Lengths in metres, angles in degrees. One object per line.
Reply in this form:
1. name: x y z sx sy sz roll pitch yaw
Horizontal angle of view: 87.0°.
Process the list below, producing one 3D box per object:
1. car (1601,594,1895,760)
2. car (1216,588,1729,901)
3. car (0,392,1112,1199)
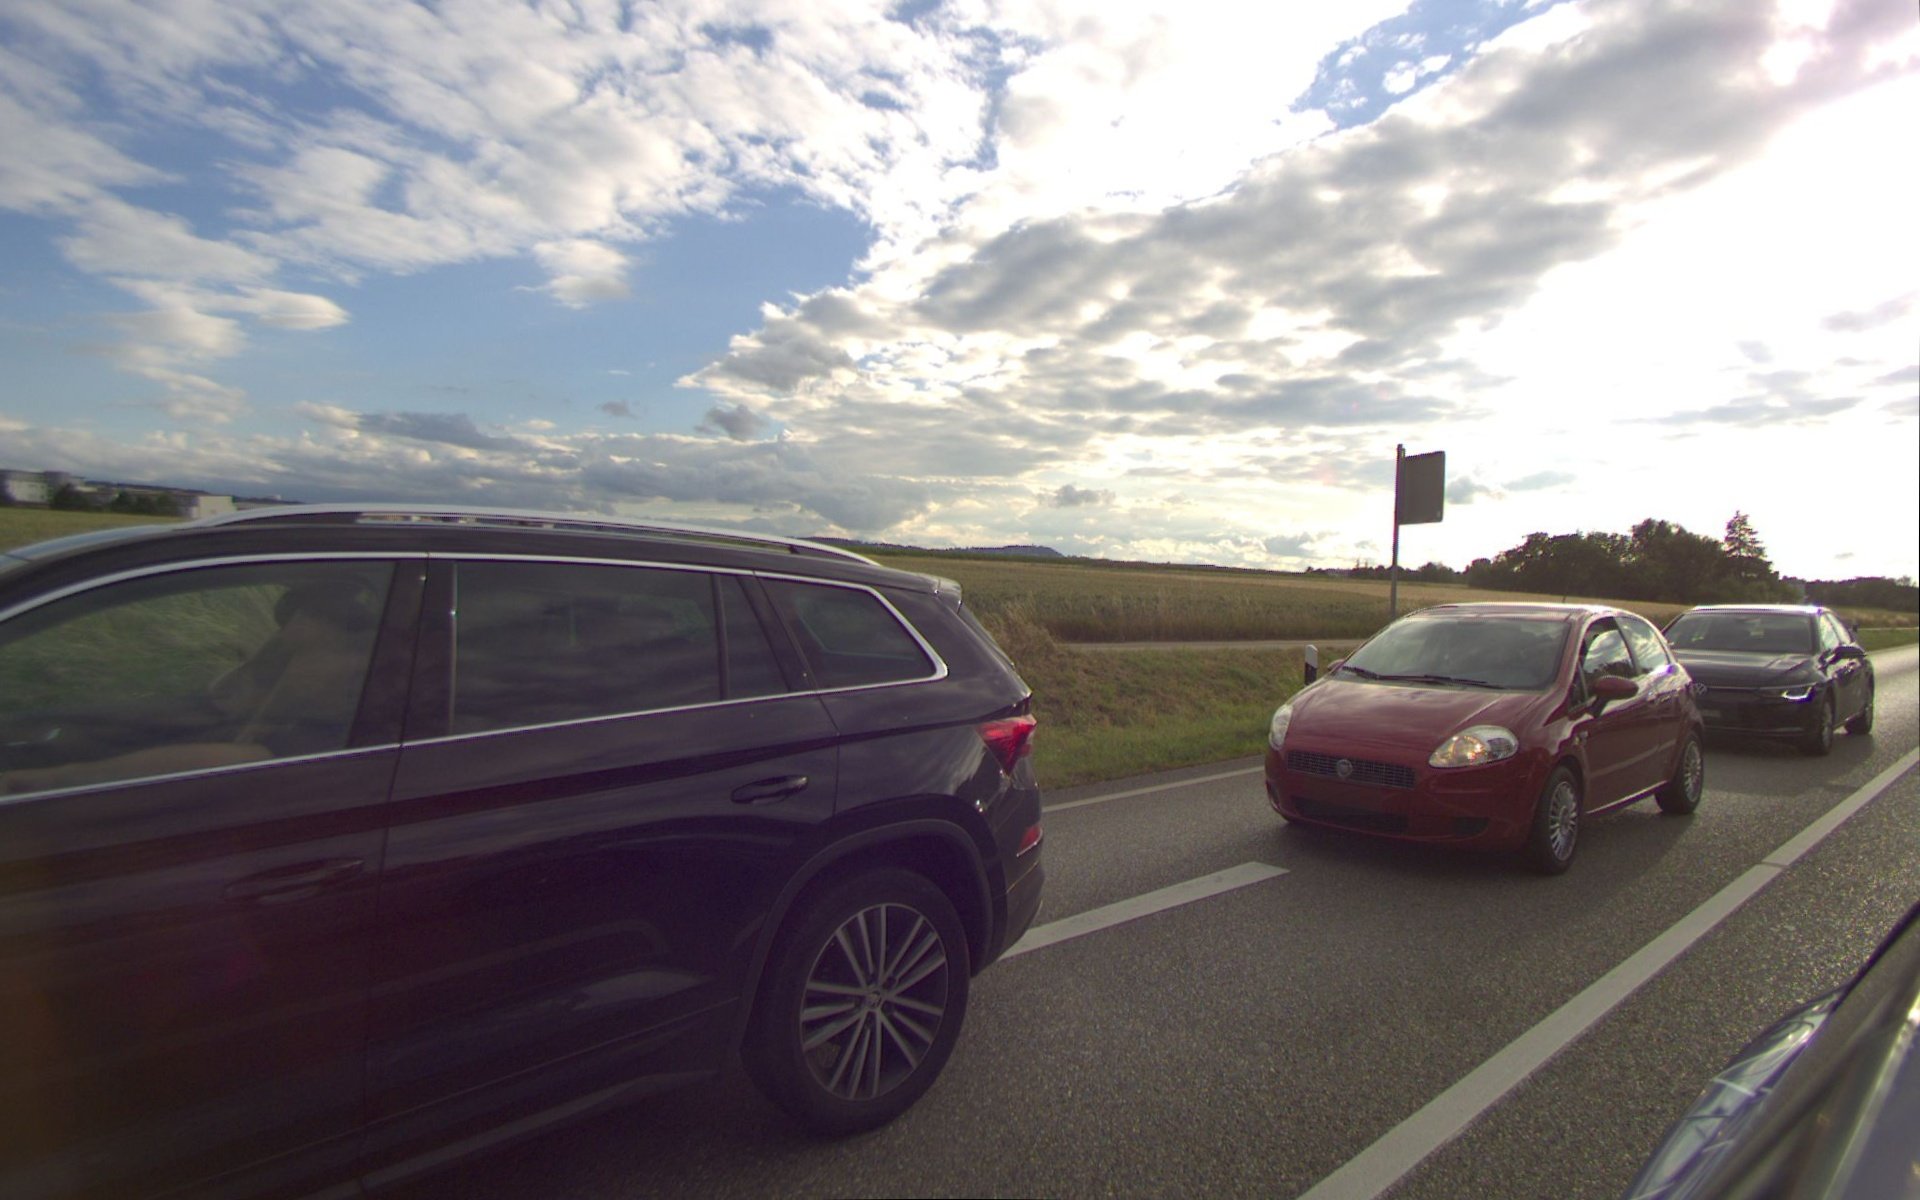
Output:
1. car: 8.705 0.684 11.061 3.962 1.475 1.797 0 0 -41
2. car: 3.553 0.669 6.712 3.840 1.475 1.710 -1 0 -41
3. car: -1.788 0.532 2.563 4.477 1.730 1.839 -1 0 -41
